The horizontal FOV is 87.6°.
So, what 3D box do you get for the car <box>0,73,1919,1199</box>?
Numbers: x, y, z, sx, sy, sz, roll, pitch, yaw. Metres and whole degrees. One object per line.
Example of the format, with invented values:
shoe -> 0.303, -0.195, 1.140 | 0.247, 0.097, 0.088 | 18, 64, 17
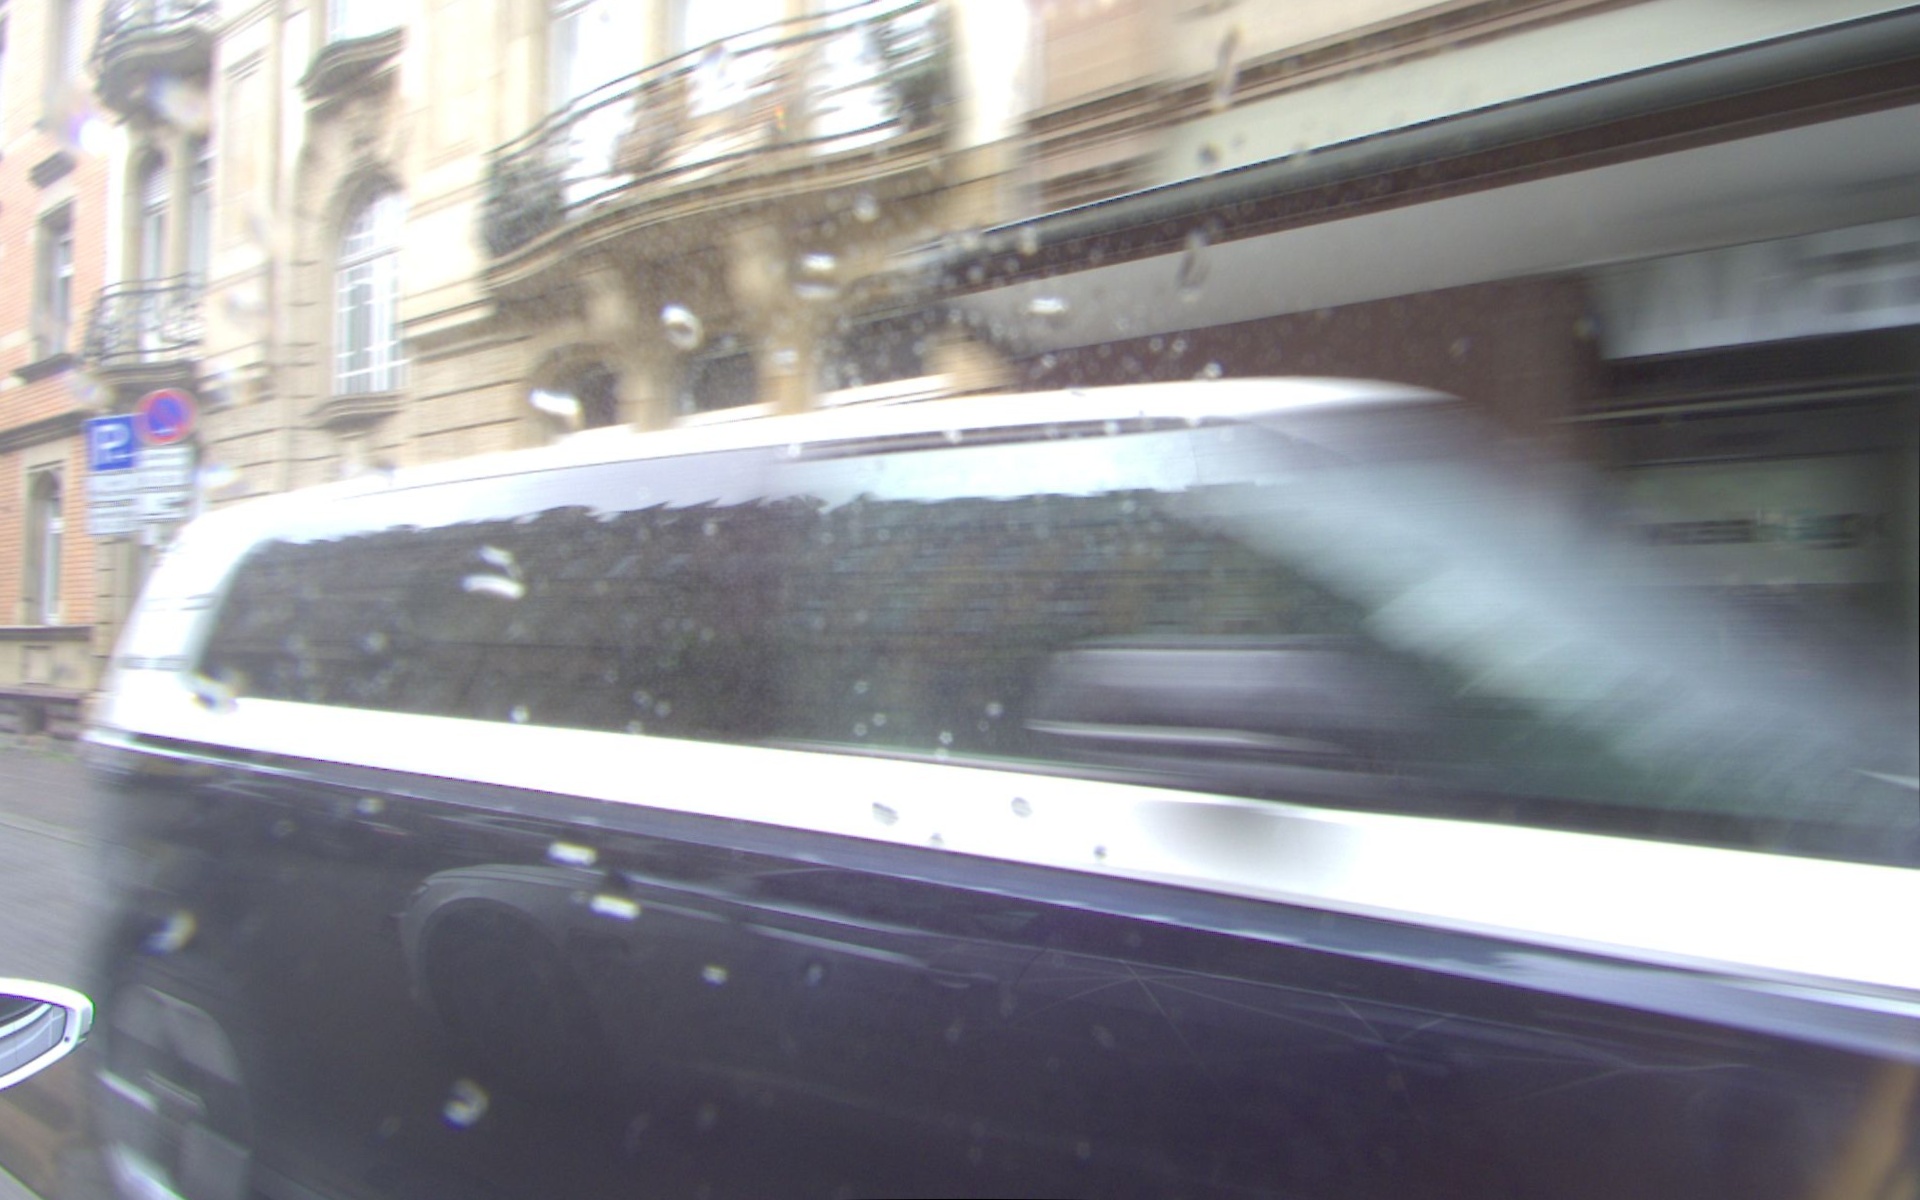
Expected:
car -> -0.478, 0.597, 2.658 | 5.150, 1.964, 1.992 | -1, -1, 28
